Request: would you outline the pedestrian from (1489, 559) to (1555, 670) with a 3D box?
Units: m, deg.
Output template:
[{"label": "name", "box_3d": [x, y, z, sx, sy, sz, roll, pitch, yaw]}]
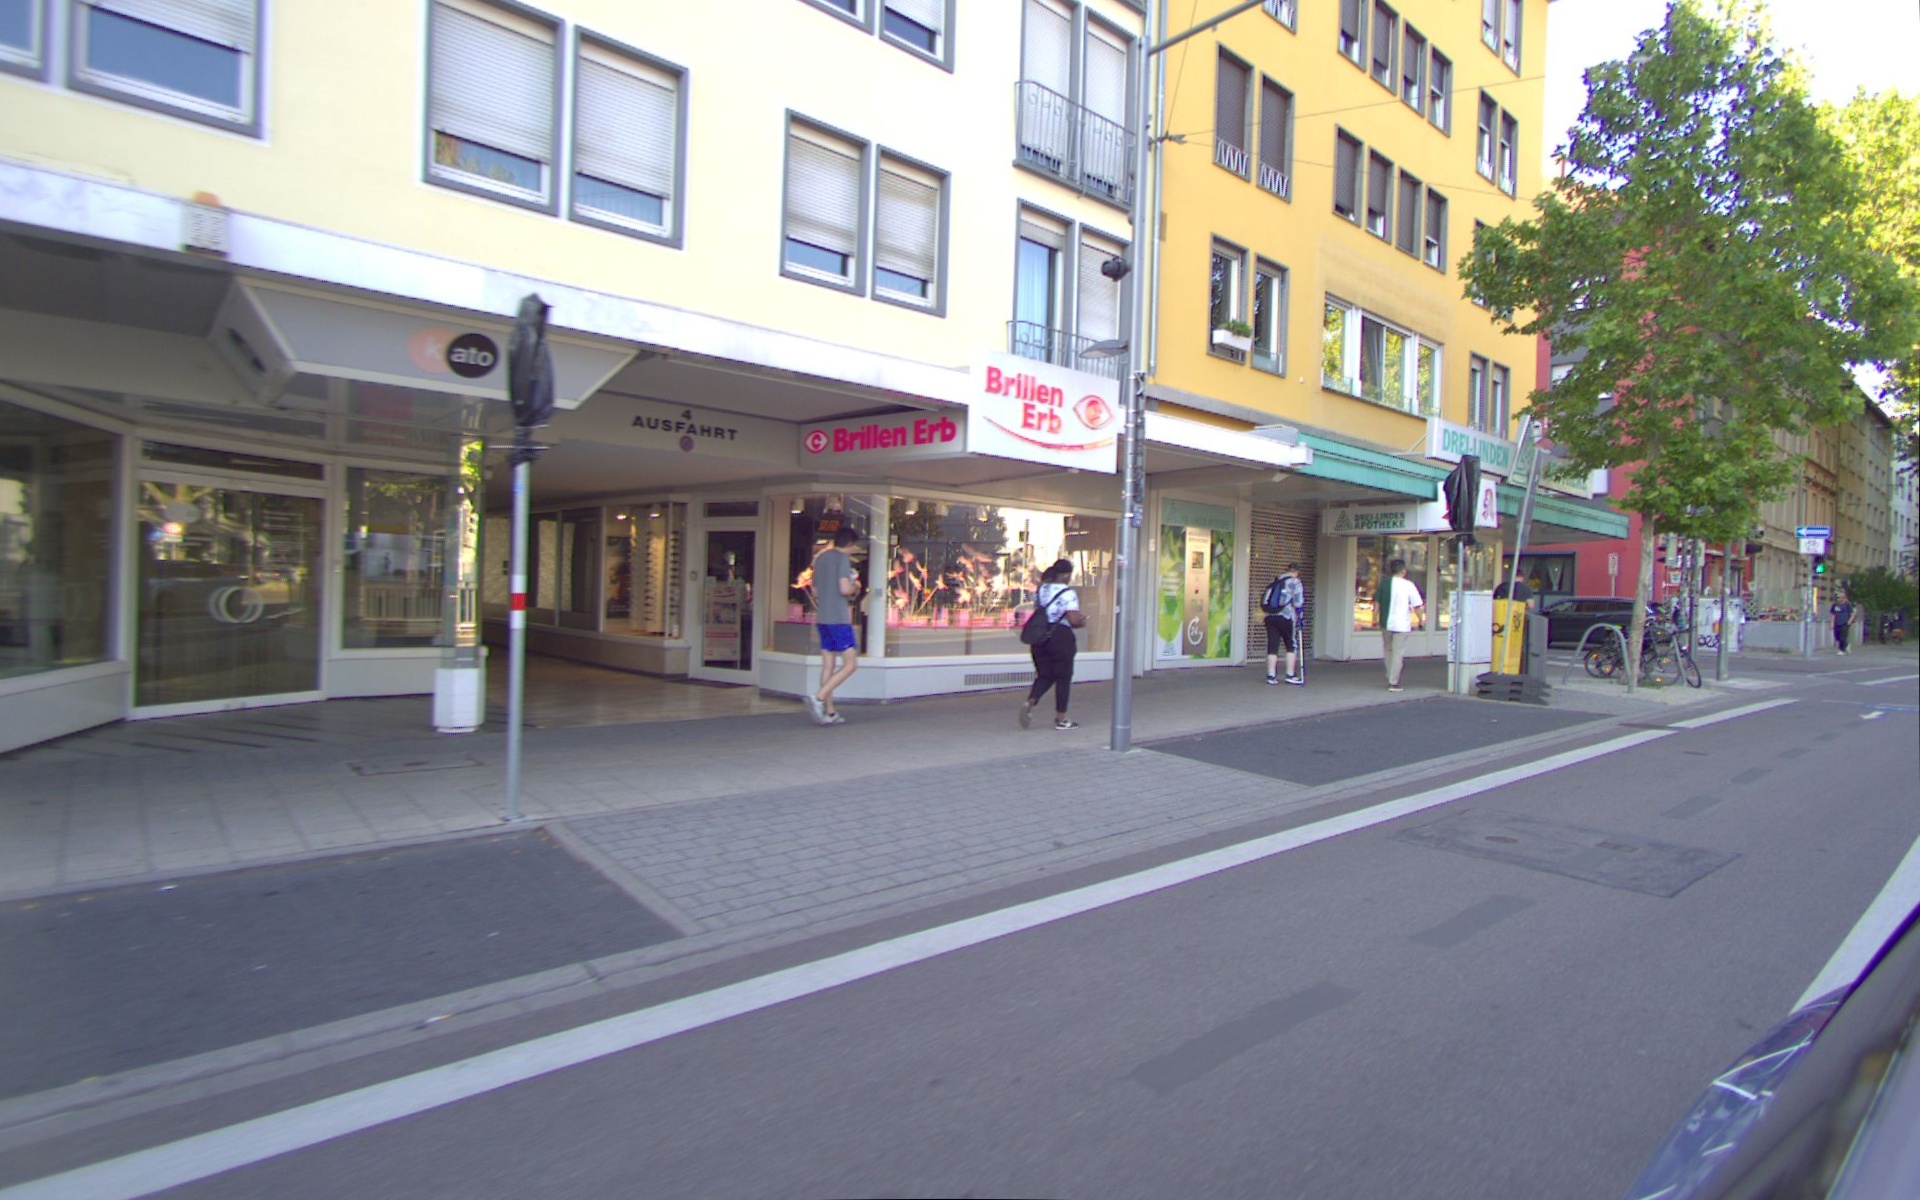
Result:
[{"label": "pedestrian", "box_3d": [9.527, 0.228, 17.171, 0.753, 1.829, 0.725, 0, 1, -41]}]

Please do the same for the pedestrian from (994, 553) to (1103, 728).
[{"label": "pedestrian", "box_3d": [0.852, 0.361, 9.729, 0.836, 1.598, 0.611, 0, 1, -41]}]

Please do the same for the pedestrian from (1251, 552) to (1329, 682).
[{"label": "pedestrian", "box_3d": [4.604, 0.212, 14.123, 0.753, 1.745, 0.725, 0, 1, -41]}]

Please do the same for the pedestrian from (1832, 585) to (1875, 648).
[{"label": "pedestrian", "box_3d": [25.824, 0.463, 29.253, 0.801, 1.731, 0.728, 0, 4, -41]}]

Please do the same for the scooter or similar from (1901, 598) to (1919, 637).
[{"label": "scooter or similar", "box_3d": [38.303, 0.696, 40.497, 2.500, 1.488, 0.666, 1, 1, -41]}]

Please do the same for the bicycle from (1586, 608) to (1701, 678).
[{"label": "bicycle", "box_3d": [11.488, 0.705, 17.039, 0.446, 1.020, 1.485, 1, 3, -43]}]

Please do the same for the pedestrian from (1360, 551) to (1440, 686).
[{"label": "pedestrian", "box_3d": [6.099, 0.232, 14.044, 0.753, 1.801, 0.725, 0, 1, -41]}]

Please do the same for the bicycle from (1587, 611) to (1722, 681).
[{"label": "bicycle", "box_3d": [11.898, 0.760, 17.389, 0.532, 1.020, 1.801, 1, 3, -43]}]

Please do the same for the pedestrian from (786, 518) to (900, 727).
[{"label": "pedestrian", "box_3d": [-1.103, 0.189, 9.524, 0.753, 1.863, 0.725, 0, 1, -41]}]

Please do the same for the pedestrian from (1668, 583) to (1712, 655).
[{"label": "pedestrian", "box_3d": [19.140, 0.485, 26.538, 0.879, 1.801, 0.745, -3, 3, -41]}]

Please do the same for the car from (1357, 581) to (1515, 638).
[{"label": "car", "box_3d": [16.354, 0.277, 34.984, 1.741, 1.762, 4.611, 1, 1, -41]}]

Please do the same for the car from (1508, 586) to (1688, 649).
[{"label": "car", "box_3d": [19.507, 0.480, 31.102, 1.741, 1.707, 4.350, 1, 1, -41]}]
